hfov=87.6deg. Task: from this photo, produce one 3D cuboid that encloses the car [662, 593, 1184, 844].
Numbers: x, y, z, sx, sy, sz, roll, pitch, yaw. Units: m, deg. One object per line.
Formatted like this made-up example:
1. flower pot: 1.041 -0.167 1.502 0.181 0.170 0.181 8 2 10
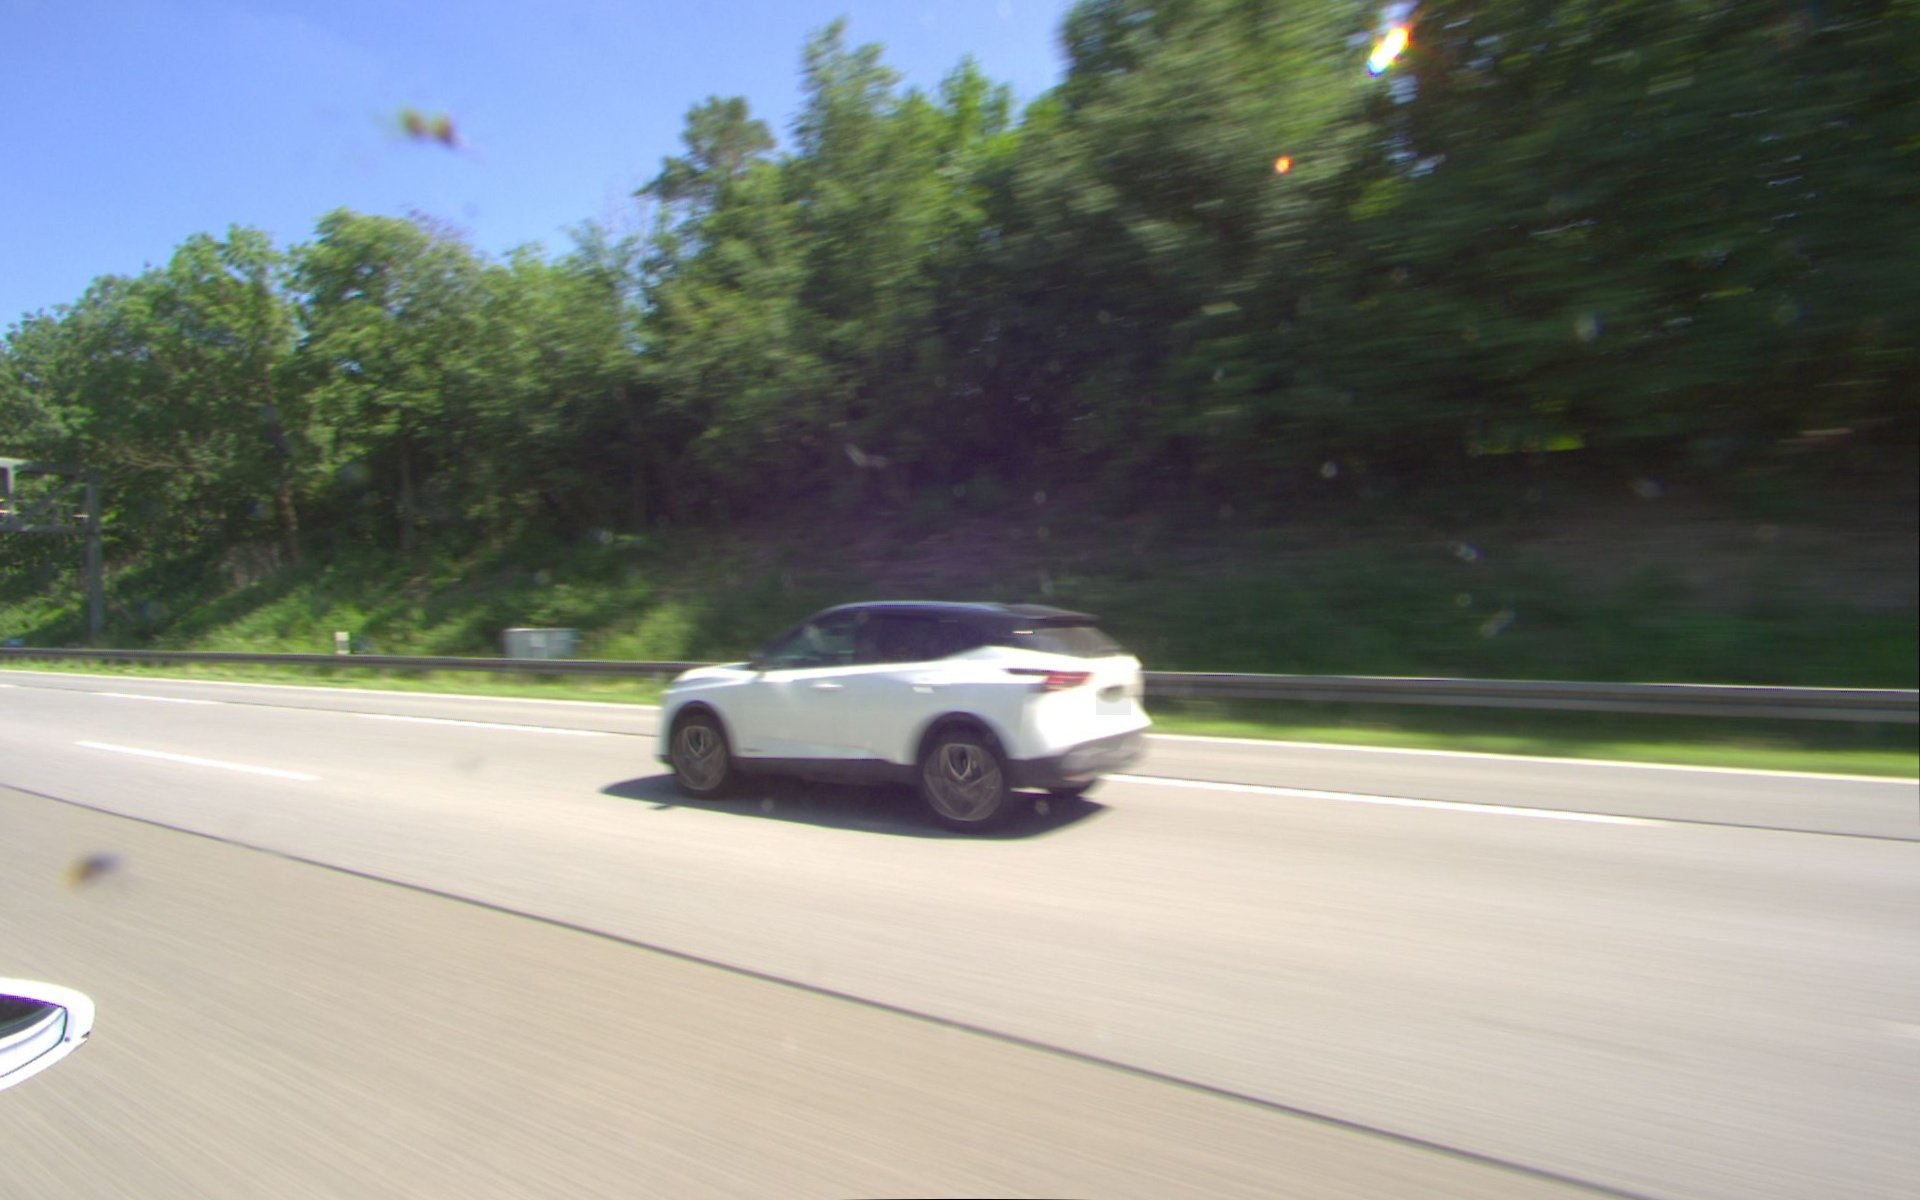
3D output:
1. car: -0.381 0.797 8.225 3.978 1.588 1.840 -1 -1 33
